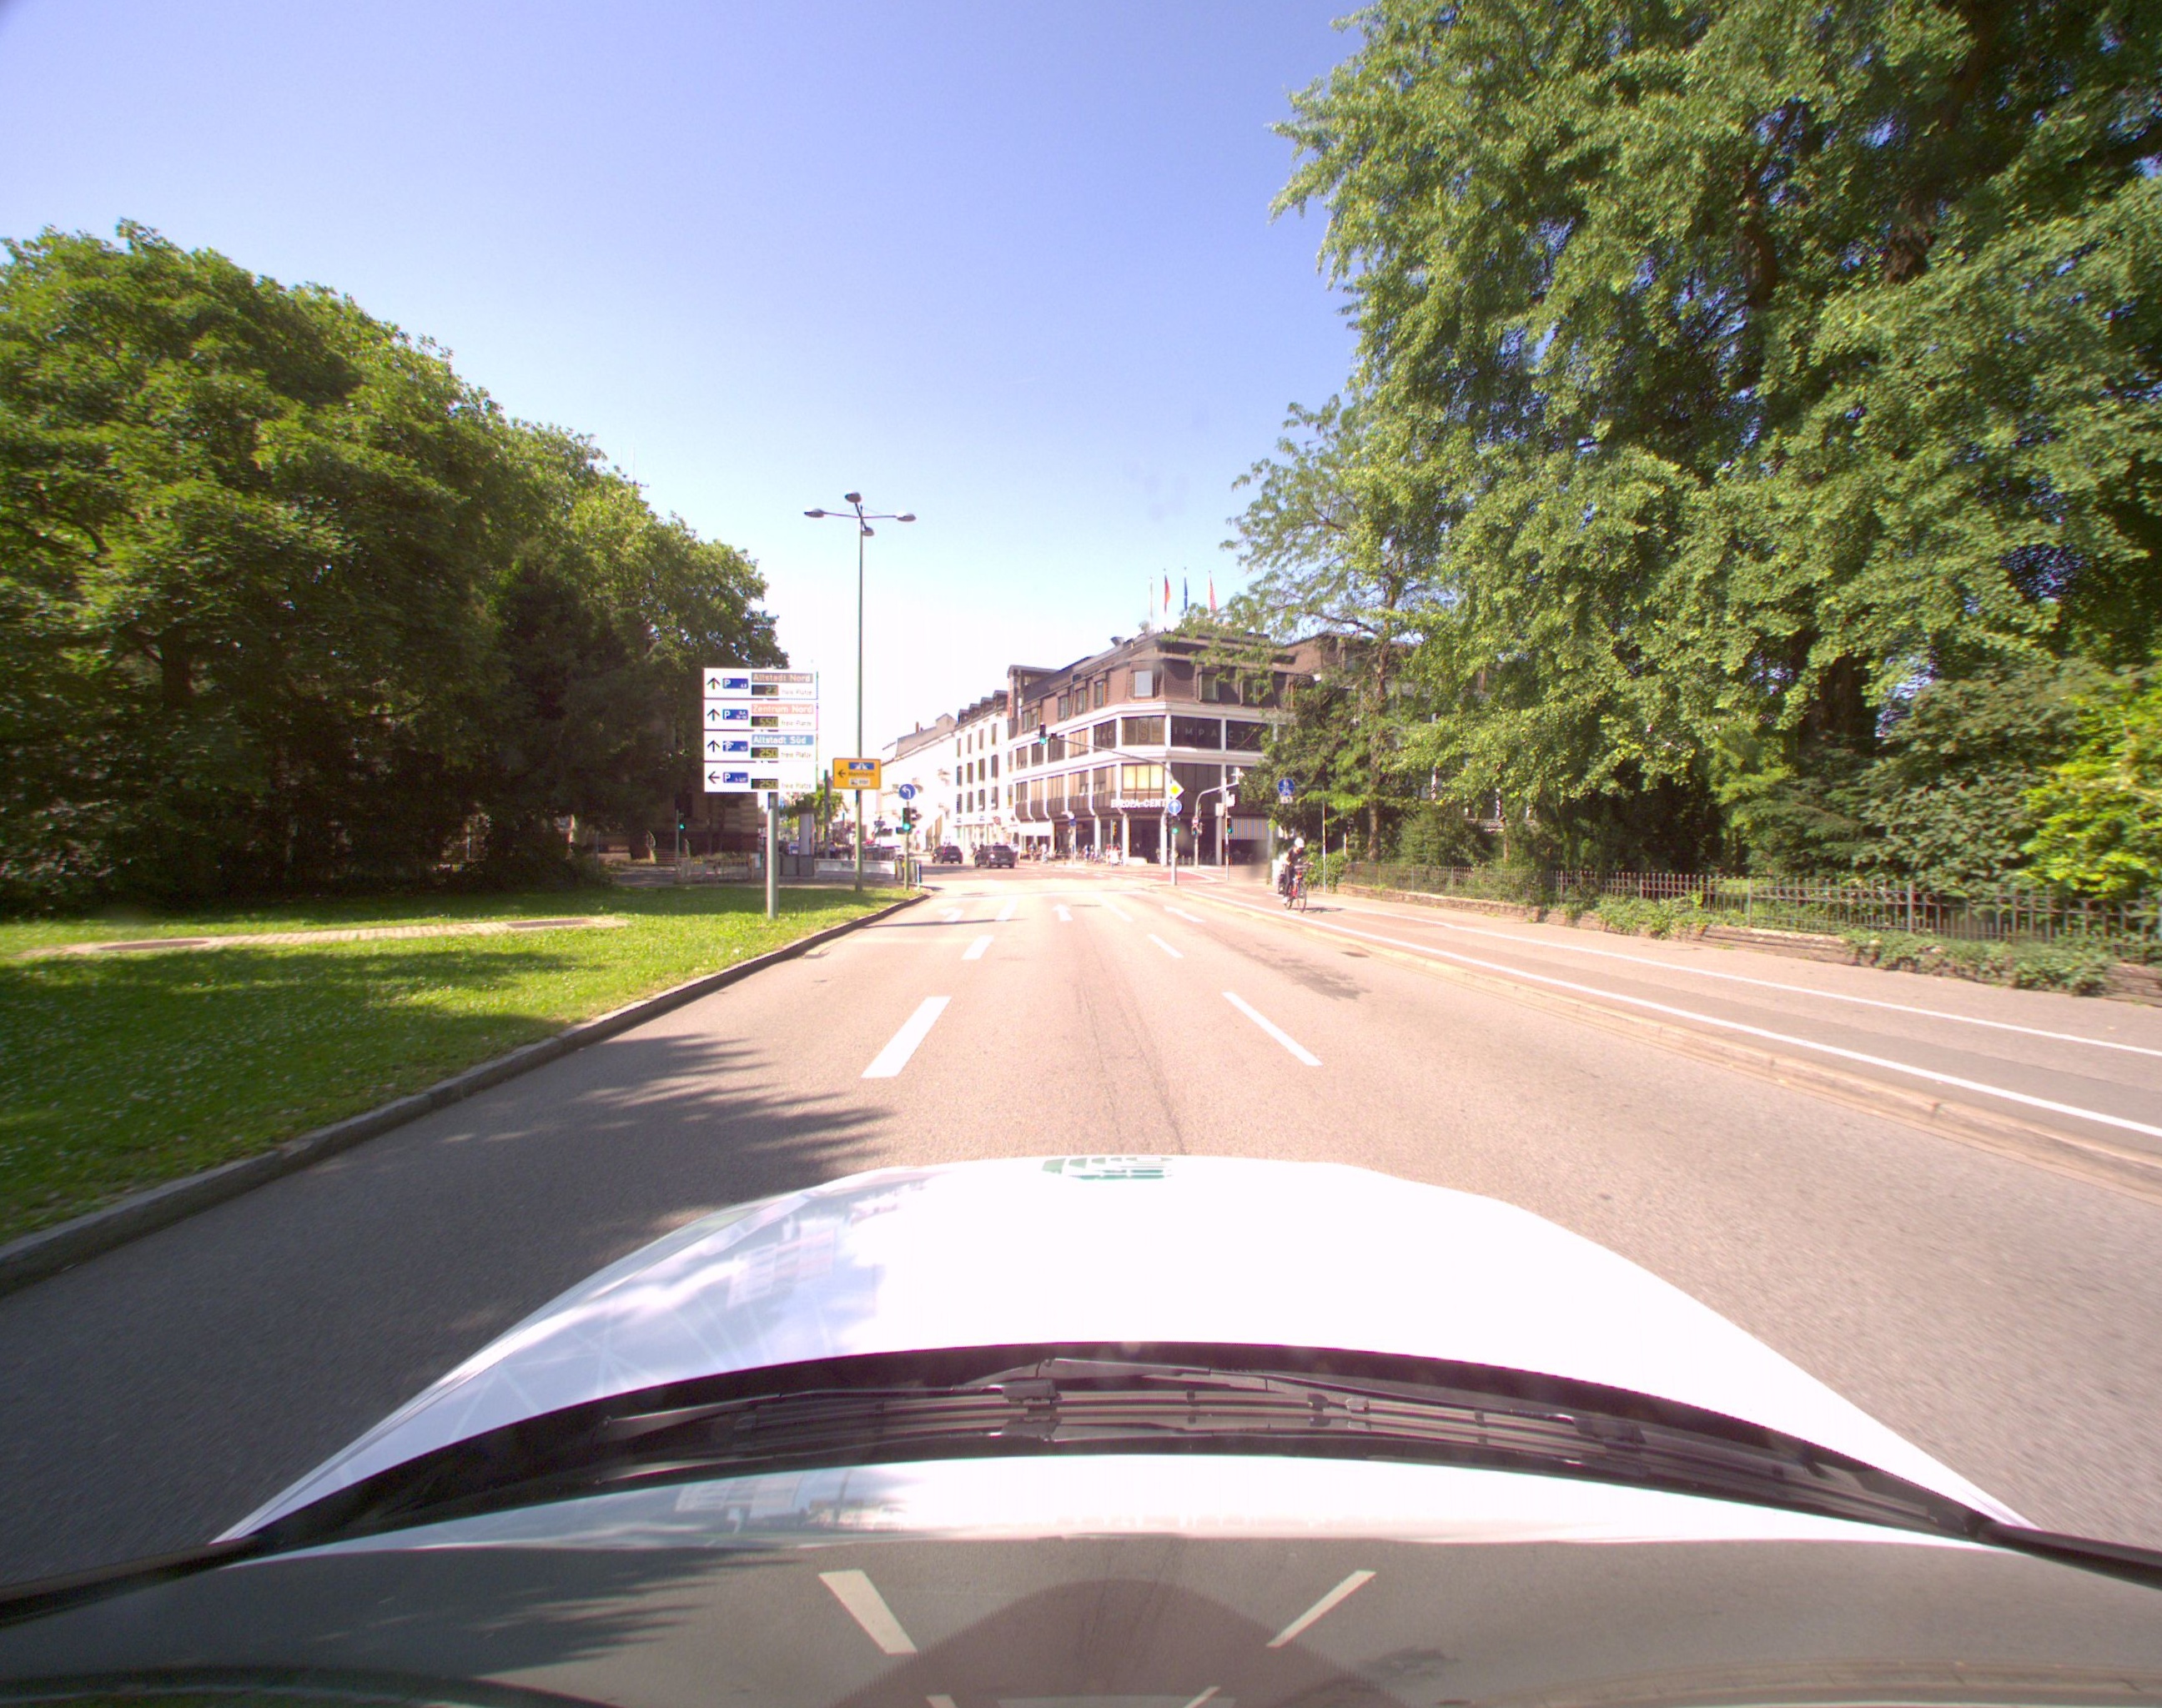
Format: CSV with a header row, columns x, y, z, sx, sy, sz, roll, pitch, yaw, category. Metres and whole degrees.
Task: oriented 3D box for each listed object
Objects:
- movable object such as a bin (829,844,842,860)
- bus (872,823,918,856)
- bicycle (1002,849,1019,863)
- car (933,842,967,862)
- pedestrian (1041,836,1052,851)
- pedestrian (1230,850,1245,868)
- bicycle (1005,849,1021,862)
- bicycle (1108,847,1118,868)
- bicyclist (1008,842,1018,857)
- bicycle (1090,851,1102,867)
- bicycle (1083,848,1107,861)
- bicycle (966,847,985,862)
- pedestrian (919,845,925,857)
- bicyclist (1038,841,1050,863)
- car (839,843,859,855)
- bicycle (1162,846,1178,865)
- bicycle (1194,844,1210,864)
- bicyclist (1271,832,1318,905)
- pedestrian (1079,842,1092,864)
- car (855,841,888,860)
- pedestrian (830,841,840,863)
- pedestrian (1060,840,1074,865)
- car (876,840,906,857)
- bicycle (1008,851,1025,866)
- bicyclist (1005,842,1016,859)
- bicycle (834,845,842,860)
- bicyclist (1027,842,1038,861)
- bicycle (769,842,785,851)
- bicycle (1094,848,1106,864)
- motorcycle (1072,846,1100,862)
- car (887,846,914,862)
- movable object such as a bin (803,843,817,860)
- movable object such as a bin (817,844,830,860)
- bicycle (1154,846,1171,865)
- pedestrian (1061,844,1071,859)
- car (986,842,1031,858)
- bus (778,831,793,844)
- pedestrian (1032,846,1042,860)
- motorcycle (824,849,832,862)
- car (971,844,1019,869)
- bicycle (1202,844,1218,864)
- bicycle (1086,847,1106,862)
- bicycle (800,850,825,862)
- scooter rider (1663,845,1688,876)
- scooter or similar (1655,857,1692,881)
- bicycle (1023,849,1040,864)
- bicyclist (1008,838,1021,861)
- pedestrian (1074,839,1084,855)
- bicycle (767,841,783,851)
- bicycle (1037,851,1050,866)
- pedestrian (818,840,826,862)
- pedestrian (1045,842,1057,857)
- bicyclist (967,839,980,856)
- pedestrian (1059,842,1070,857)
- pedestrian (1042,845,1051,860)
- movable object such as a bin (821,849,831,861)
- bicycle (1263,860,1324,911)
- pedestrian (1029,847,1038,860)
x,y,z,sx,sy,sz,roll,pitch,yaw,category
-23.455,-0.169,77.847,1.127,1.450,1.430,2,1,-18,movable object such as a bin
-22.792,-1.775,99.292,2.895,3.742,12.325,2,0,-25,bus
-5.798,0.142,67.048,0.623,1.099,2.333,0,0,-26,bicycle
-10.618,-0.124,65.839,1.841,1.527,3.969,-2,0,-23,car
-3.291,-0.971,78.619,0.748,1.367,0.579,-8,4,-25,pedestrian
12.039,0.365,62.720,0.819,1.334,0.978,1,1,30,pedestrian
-5.845,0.091,69.969,0.623,1.099,2.333,0,0,-26,bicycle
2.327,0.272,58.957,0.373,1.481,1.062,-6,-1,12,bicycle
-5.853,-0.371,69.993,0.623,1.296,0.859,0,0,-26,bicyclist
1.133,0.361,62.263,0.277,1.120,2.231,0,1,-16,bicycle
1.138,0.042,66.124,2.254,1.097,0.274,0,1,-38,bicycle
-10.278,0.055,79.001,0.983,1.386,2.977,0,0,-25,bicycle
-21.590,-0.446,110.463,0.648,1.617,0.816,0,0,-22,pedestrian
-2.797,-0.128,61.392,0.696,1.625,0.831,-1,1,-16,bicyclist
-28.908,-0.629,101.339,1.872,1.441,3.967,0,-1,-25,car
6.394,0.109,58.417,0.524,1.316,1.870,0,2,27,bicycle
8.946,0.003,60.134,0.524,1.422,1.979,0,2,27,bicycle
4.969,0.328,19.019,0.763,1.636,0.941,-1,0,-6,bicyclist
0.321,-0.076,62.646,0.834,1.663,0.693,-1,-1,-16,pedestrian
-16.321,-0.308,63.368,1.945,1.354,4.218,-1,2,-23,car
-18.997,-0.185,62.957,0.697,1.695,0.686,-1,-1,-22,pedestrian
-1.065,-0.114,61.477,0.834,1.835,0.693,-1,-1,-16,pedestrian
-17.026,-0.500,72.732,1.872,1.441,3.968,0,1,-24,car
-4.985,0.335,62.874,0.667,1.120,2.226,0,0,-24,bicycle
-5.795,-0.288,67.026,0.623,1.355,0.839,0,0,-26,bicyclist
-18.820,-0.136,63.152,0.430,1.120,2.233,1,-1,-13,bicycle
-3.853,-0.205,64.579,0.623,1.529,0.863,0,0,-23,bicyclist
-42.886,-1.037,114.919,2.074,1.130,0.613,2,-1,-24,bicycle
1.451,0.144,62.560,0.277,1.120,2.230,0,1,-17,bicycle
0.446,-0.012,67.873,2.226,1.290,0.949,-1,0,4,motorcycle
-18.612,-0.017,83.954,1.842,1.527,3.967,-2,0,-24,car
-25.667,-0.241,77.209,1.212,1.450,1.356,2,1,-19,movable object such as a bin
-24.525,-0.156,77.475,1.127,1.450,1.430,2,1,-18,movable object such as a bin
5.903,0.118,58.600,0.524,1.316,1.979,0,2,27,bicycle
-1.337,-0.234,73.269,0.715,1.396,0.691,-1,-1,-25,pedestrian
-7.170,-0.423,80.317,4.062,1.495,1.827,-1,-1,-23,car
-83.621,-4.560,230.484,2.785,3.604,8.895,-1,2,-27,bus
-3.949,-0.072,72.608,0.712,1.217,0.693,-1,0,-16,pedestrian
-19.625,0.143,63.270,0.454,0.998,2.150,1,0,-14,motorcycle
-5.676,0.145,53.400,1.843,1.527,3.965,-3,1,-26,car
9.507,0.004,59.940,0.524,1.422,1.979,0,2,27,bicycle
1.187,0.059,64.342,1.575,1.120,0.276,-2,1,-18,bicycle
-23.637,0.191,71.617,1.977,1.017,0.664,2,-1,-36,bicycle
32.800,0.351,44.939,0.709,1.672,0.819,-1,-1,-17,scooter rider
32.677,0.801,44.905,1.695,1.298,0.816,-1,0,-18,scooter or similar
-3.941,0.182,64.836,0.623,1.099,2.335,0,0,-23,bicycle
-5.175,-0.358,63.170,0.697,1.673,0.909,2,1,-23,bicyclist
-0.182,-0.594,71.512,0.715,1.396,0.691,-1,-1,-25,pedestrian
-43.888,-1.115,116.868,2.078,1.288,0.364,2,-1,-32,bicycle
-2.868,0.322,61.771,0.595,1.120,1.791,0,1,-16,bicycle
-20.041,-0.207,63.101,0.550,1.665,0.932,-1,0,-15,pedestrian
-2.852,-0.433,77.731,0.881,1.368,0.532,8,-3,-26,pedestrian
-10.417,-0.623,79.156,0.987,1.599,1.047,0,0,-24,bicyclist
-1.494,-0.414,74.124,0.817,1.396,0.691,0,0,-26,pedestrian
-3.311,-0.158,78.023,0.764,1.367,0.474,0,1,-26,pedestrian
-23.880,0.066,76.115,0.727,1.098,0.650,1,1,-32,movable object such as a bin
4.959,0.720,19.149,0.756,1.120,1.998,-1,-1,-5,bicycle
-4.266,-0.043,73.397,0.712,1.173,0.693,-1,0,-16,pedestrian
